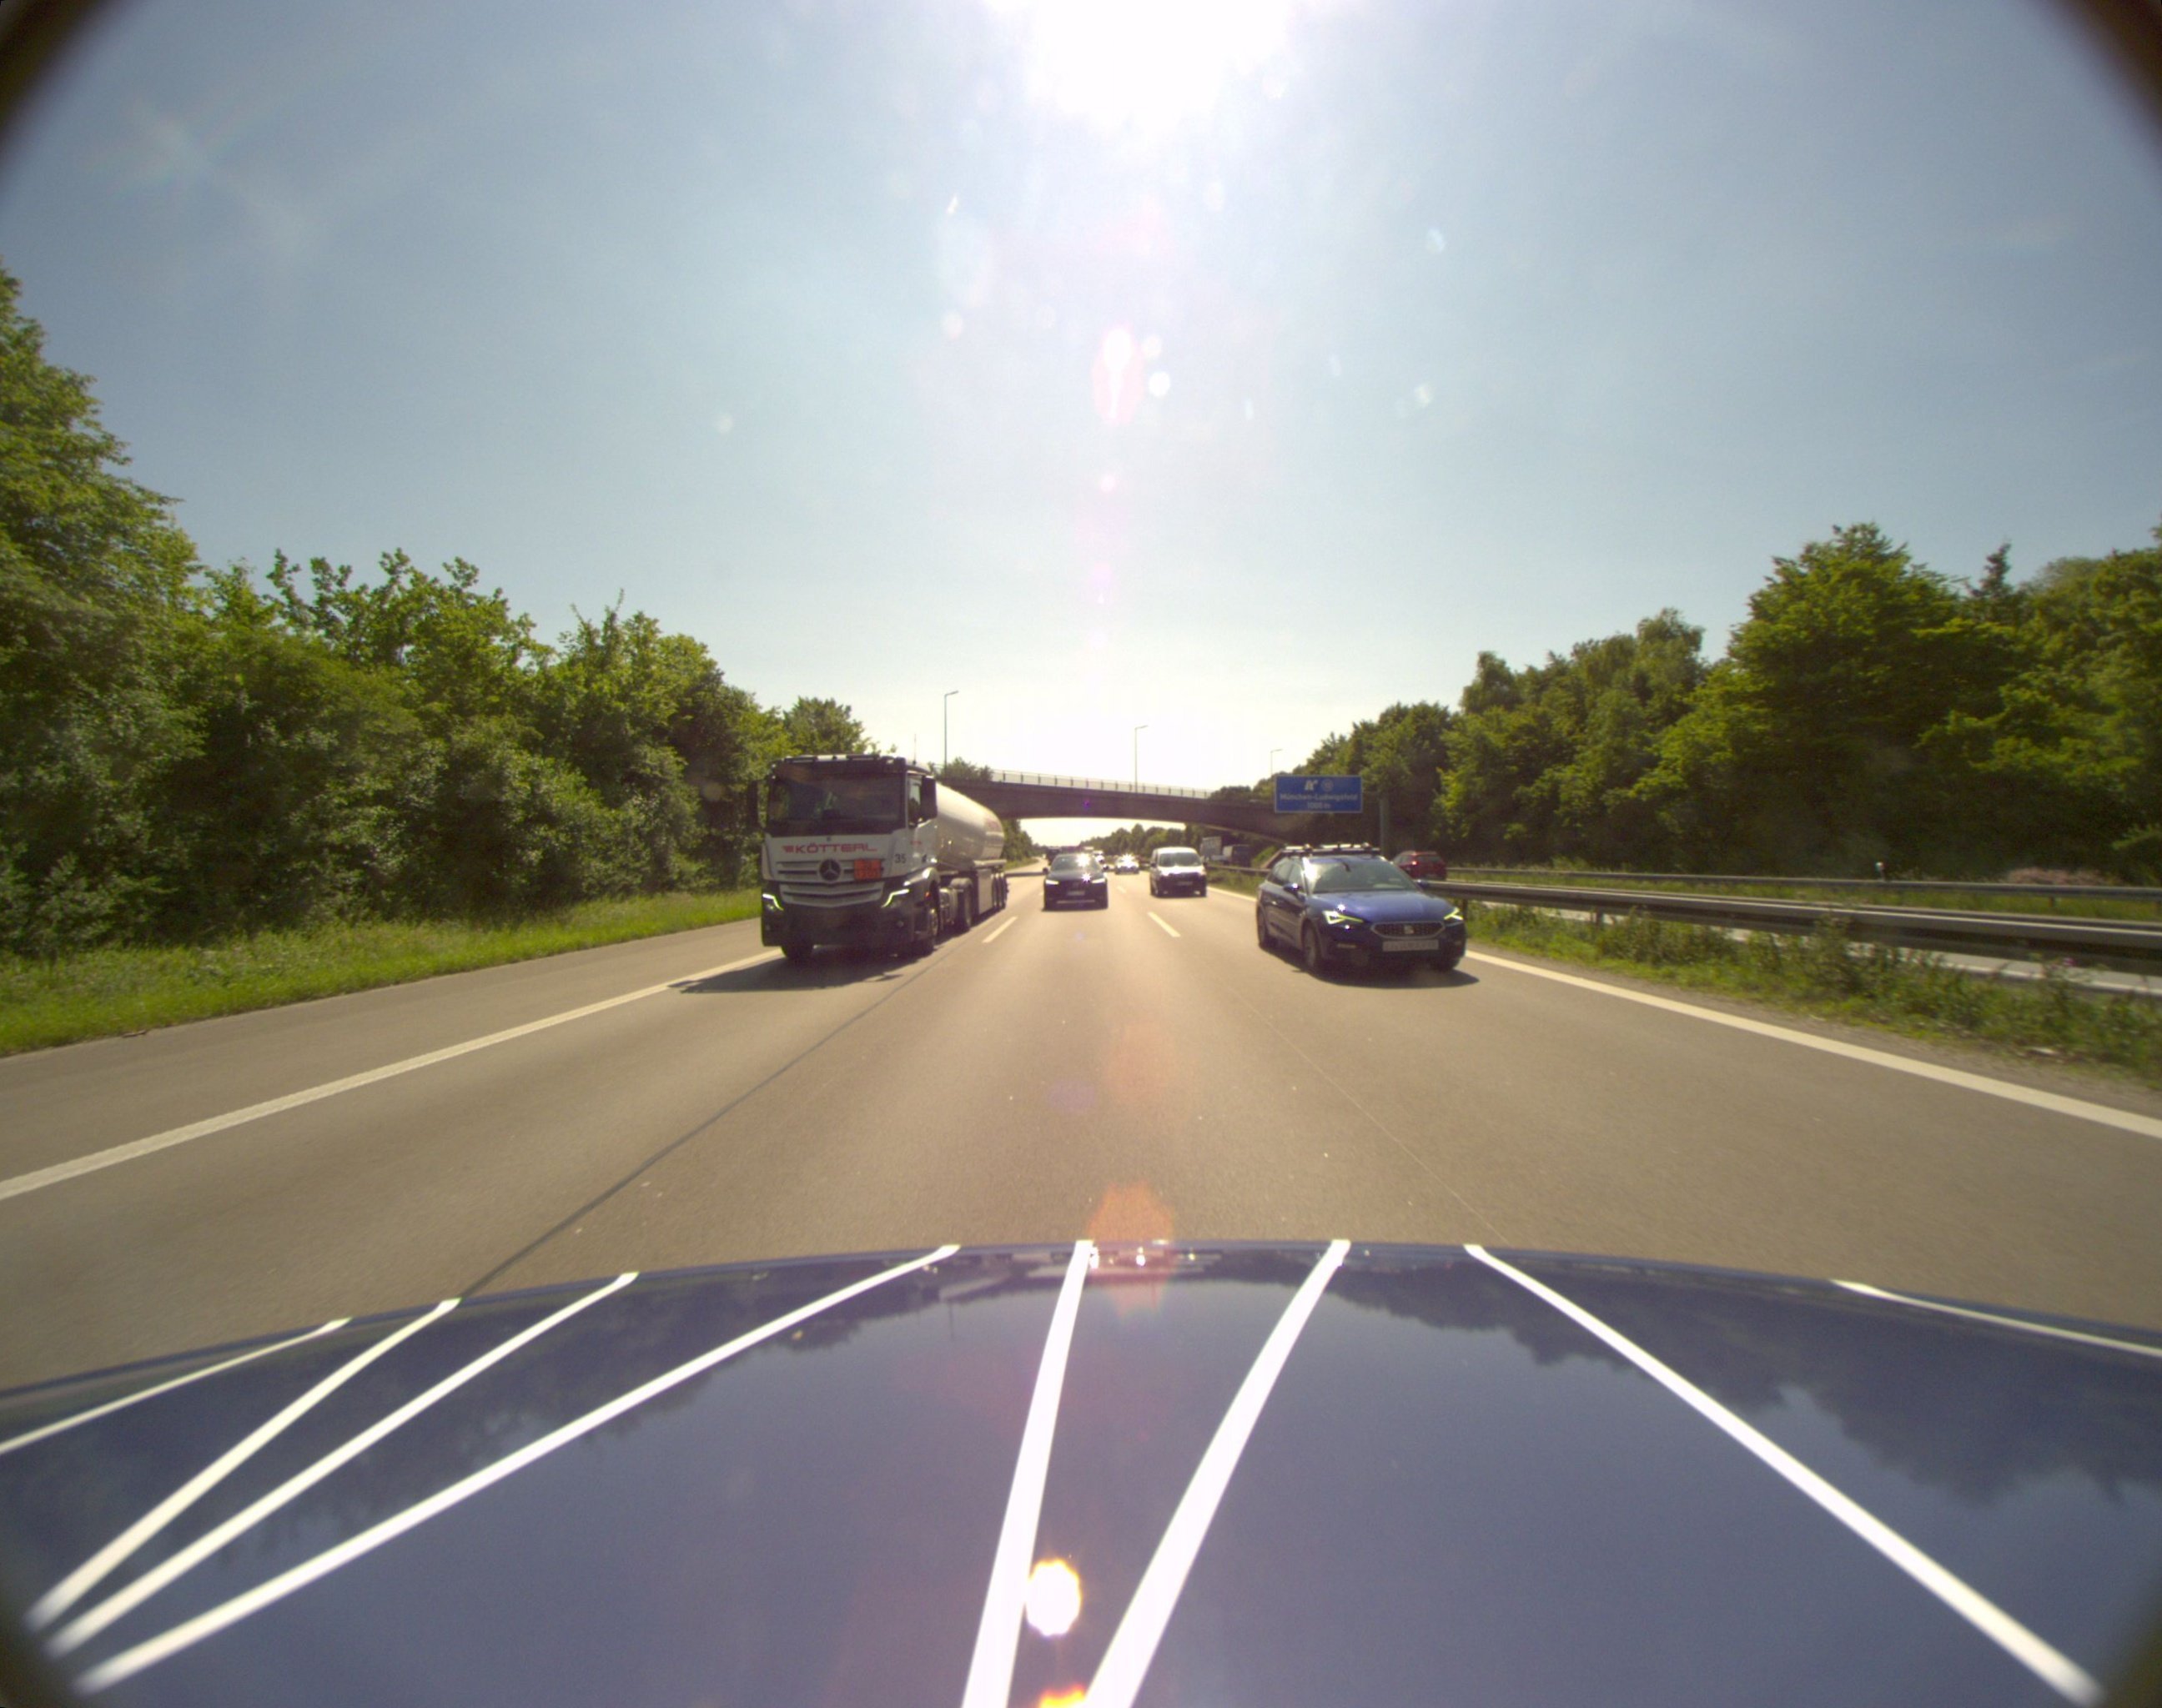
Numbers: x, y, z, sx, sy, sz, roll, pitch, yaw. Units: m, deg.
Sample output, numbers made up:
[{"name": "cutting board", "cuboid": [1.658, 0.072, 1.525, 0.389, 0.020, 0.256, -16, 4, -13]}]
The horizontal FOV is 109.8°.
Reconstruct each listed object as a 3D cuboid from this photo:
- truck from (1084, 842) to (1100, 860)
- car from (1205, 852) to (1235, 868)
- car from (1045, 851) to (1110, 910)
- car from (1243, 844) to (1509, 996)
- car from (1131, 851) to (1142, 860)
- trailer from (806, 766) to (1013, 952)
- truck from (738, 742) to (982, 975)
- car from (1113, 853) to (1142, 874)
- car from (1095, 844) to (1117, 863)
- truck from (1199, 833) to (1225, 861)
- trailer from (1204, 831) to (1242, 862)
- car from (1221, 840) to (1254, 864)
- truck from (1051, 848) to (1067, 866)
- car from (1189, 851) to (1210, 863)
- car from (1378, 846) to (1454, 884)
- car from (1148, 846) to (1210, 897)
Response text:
[{"name": "truck", "cuboid": [2.290, -0.703, 163.462, 3.243, 3.684, 10.933, 0, 0, -1]}, {"name": "car", "cuboid": [12.127, 0.491, 66.380, 1.729, 1.367, 4.544, -1, 0, -1]}, {"name": "car", "cuboid": [-0.153, 0.758, 23.944, 1.812, 1.648, 3.999, -2, 0, -2]}, {"name": "car", "cuboid": [3.694, 0.725, 10.449, 1.905, 1.616, 4.240, -2, 0, -1]}, {"name": "car", "cuboid": [11.007, 0.253, 150.915, 1.999, 1.739, 4.328, -1, 0, 0]}, {"name": "trailer", "cuboid": [-3.677, 0.068, 19.683, 2.655, 3.370, 11.151, -2, 0, 0]}, {"name": "truck", "cuboid": [-3.680, 0.058, 14.456, 2.645, 3.355, 6.486, -2, 0, 0]}, {"name": "car", "cuboid": [3.745, 0.752, 61.653, 1.999, 1.540, 3.998, -1, 1, -1]}, {"name": "car", "cuboid": [4.178, -0.043, 128.326, 3.243, 3.094, 7.603, 0, 0, -1]}, {"name": "truck", "cuboid": [19.625, -1.006, 114.002, 2.792, 4.037, 6.209, 1, 0, 0]}, {"name": "trailer", "cuboid": [19.778, -1.017, 106.918, 2.792, 4.017, 13.546, 1, 0, 0]}, {"name": "car", "cuboid": [15.665, -0.255, 76.345, 1.998, 2.222, 6.516, -1, 1, 0]}, {"name": "truck", "cuboid": [-4.190, 0.553, 145.313, 2.966, 3.388, 8.045, 0, 0, -3]}, {"name": "car", "cuboid": [14.676, 0.332, 94.272, 1.729, 1.367, 4.544, -1, 0, -1]}, {"name": "car", "cuboid": [15.935, 0.483, 36.403, 1.867, 1.620, 4.320, -1, 1, 2]}, {"name": "car", "cuboid": [3.580, 0.578, 28.450, 1.870, 1.713, 3.980, -1, 1, 1]}]
